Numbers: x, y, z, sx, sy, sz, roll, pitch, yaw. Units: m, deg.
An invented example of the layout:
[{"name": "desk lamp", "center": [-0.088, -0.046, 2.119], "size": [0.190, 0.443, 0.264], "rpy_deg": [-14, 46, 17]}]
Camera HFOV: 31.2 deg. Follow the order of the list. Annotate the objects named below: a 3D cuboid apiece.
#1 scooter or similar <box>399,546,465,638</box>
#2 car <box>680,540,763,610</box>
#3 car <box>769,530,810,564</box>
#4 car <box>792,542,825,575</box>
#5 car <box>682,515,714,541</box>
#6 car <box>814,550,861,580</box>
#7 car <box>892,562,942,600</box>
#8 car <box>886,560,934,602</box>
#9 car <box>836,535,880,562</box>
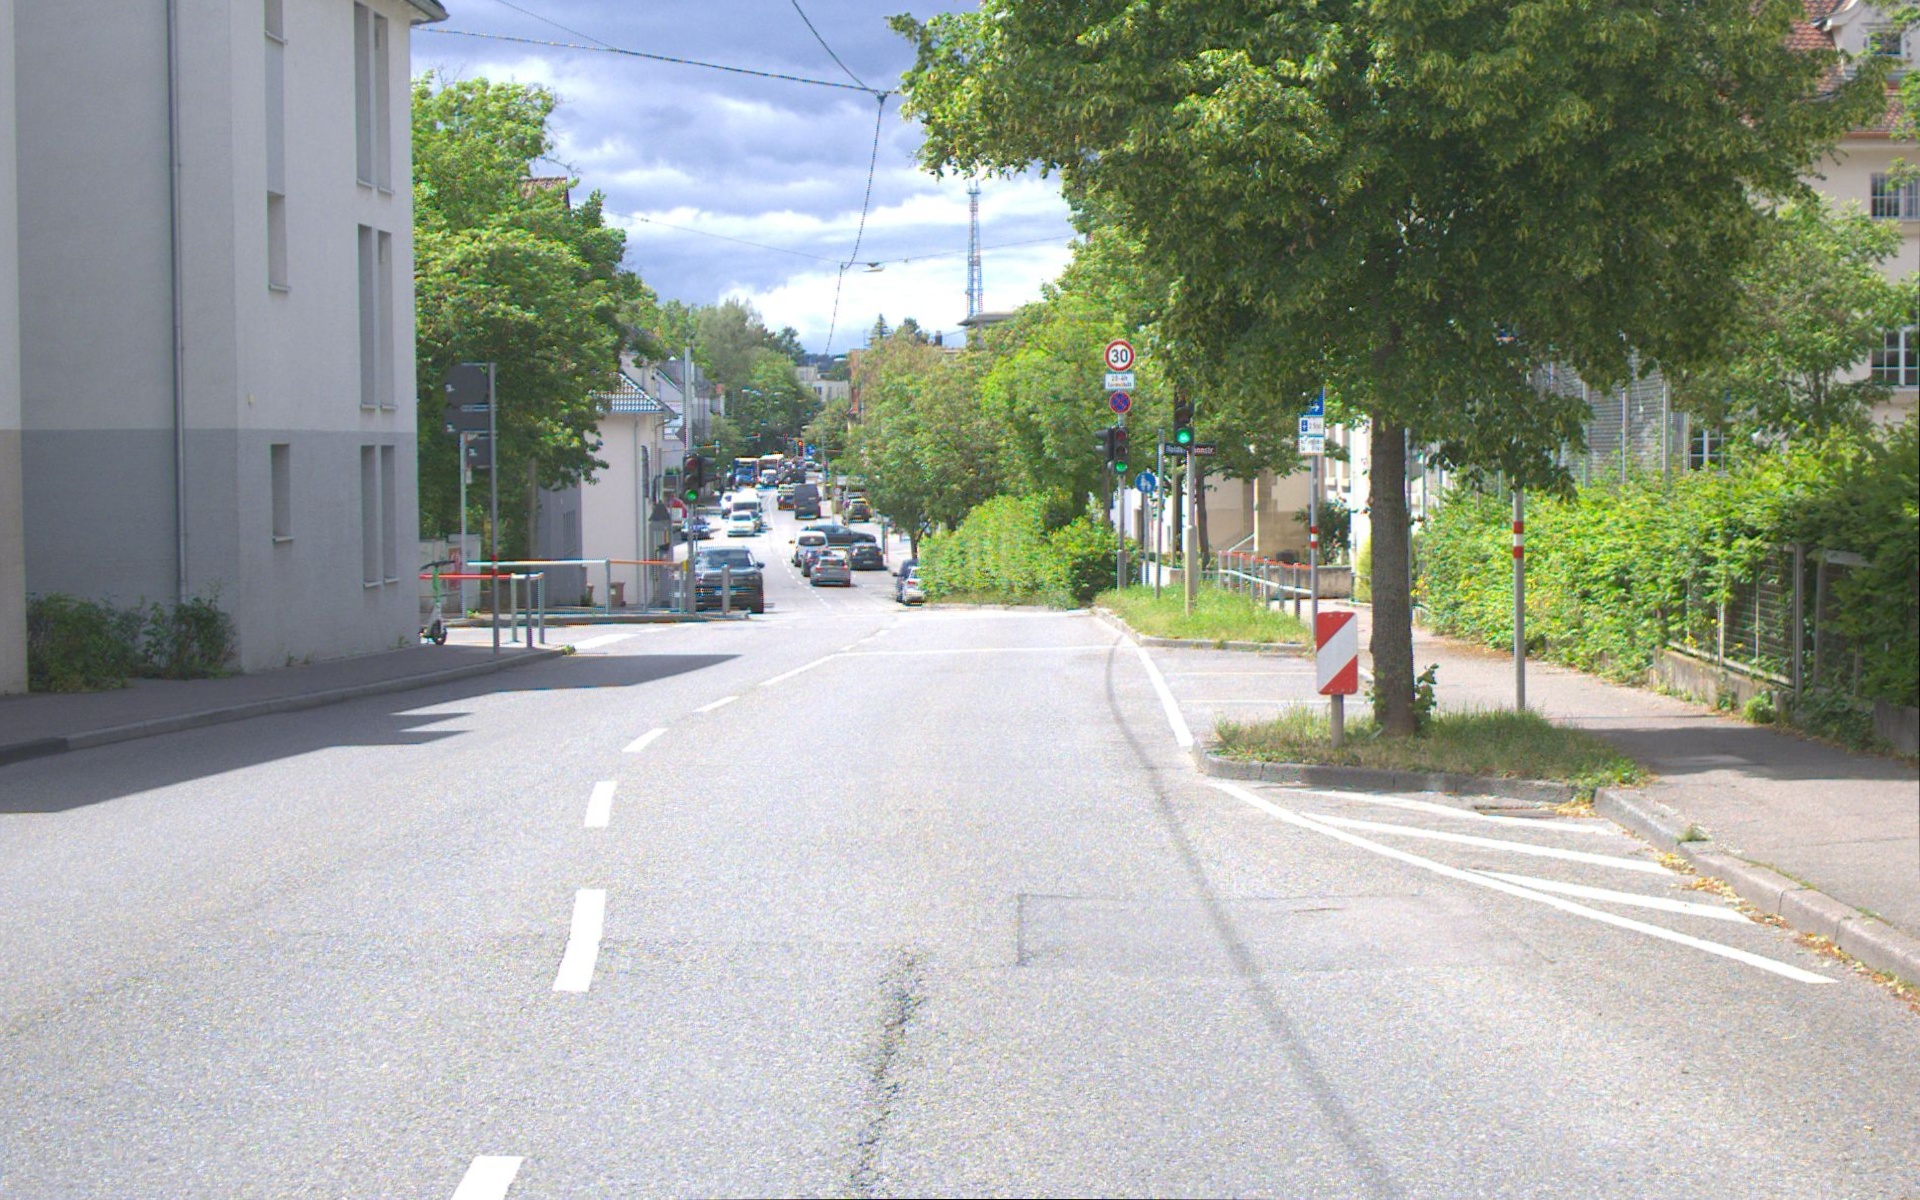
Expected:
[{"name": "scooter or similar", "center": [-7.346, -0.111, 47.791], "size": [0.489, 1.257, 1.307], "rpy_deg": [-1, 1, -28]}, {"name": "car", "center": [-5.672, -0.612, 82.153], "size": [1.795, 1.605, 4.646], "rpy_deg": [0, 1, -2]}, {"name": "car", "center": [-9.349, -2.906, 188.215], "size": [1.836, 1.855, 3.851], "rpy_deg": [0, 1, -9]}, {"name": "car", "center": [-7.902, -2.191, 179.127], "size": [1.273, 1.522, 3.052], "rpy_deg": [-1, 4, -10]}, {"name": "car", "center": [-17.356, -4.751, 228.017], "size": [1.873, 1.634, 4.000], "rpy_deg": [1, 1, -1]}, {"name": "car", "center": [-6.056, -1.726, 169.603], "size": [1.743, 1.412, 4.001], "rpy_deg": [0, 1, -10]}, {"name": "car", "center": [-1.758, -0.788, 138.923], "size": [1.786, 1.504, 4.365], "rpy_deg": [0, 1, -4]}, {"name": "car", "center": [-2.120, -0.813, 144.786], "size": [1.844, 1.761, 4.515], "rpy_deg": [0, 1, -4]}, {"name": "car", "center": [-5.507, -2.782, 185.327], "size": [1.752, 1.366, 4.001], "rpy_deg": [0, 2, -10]}]
